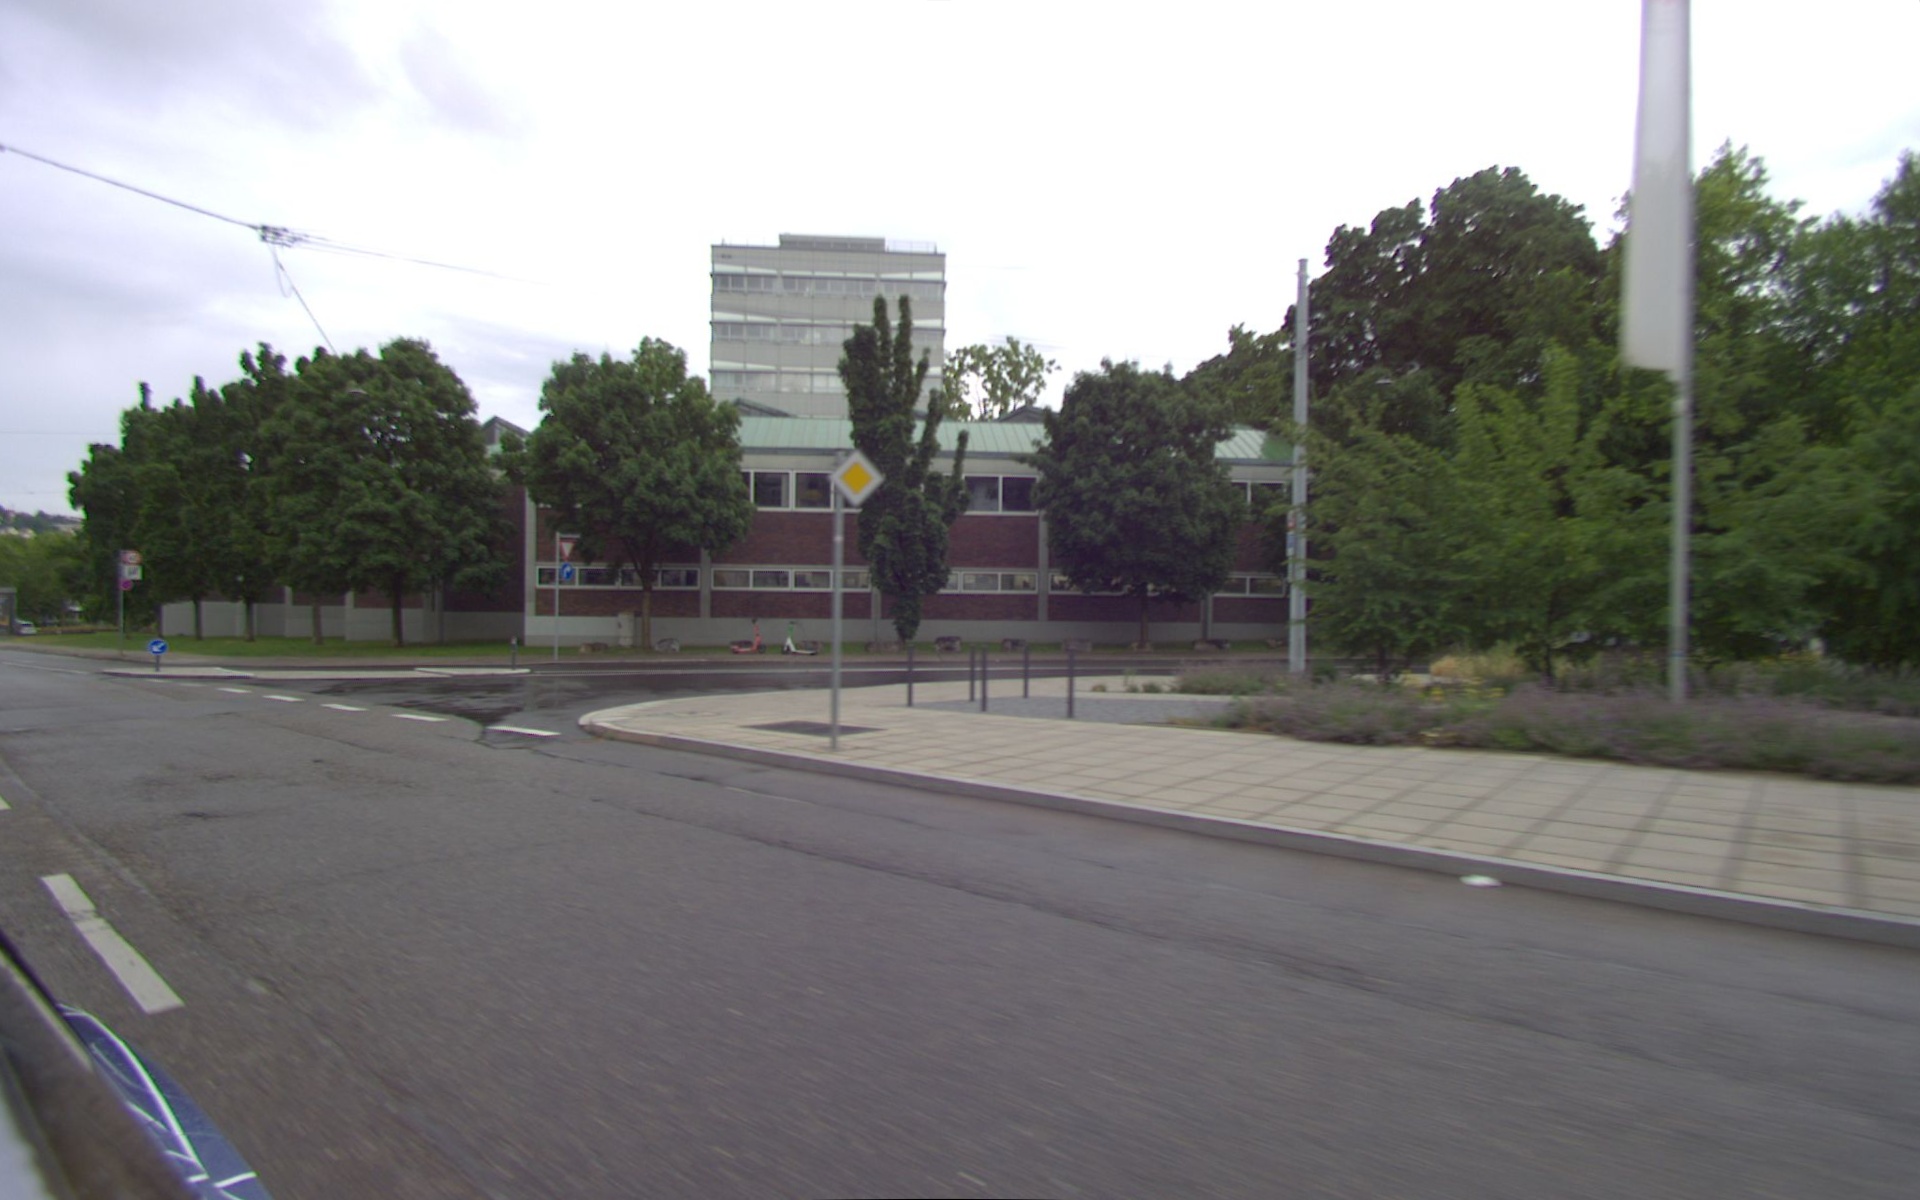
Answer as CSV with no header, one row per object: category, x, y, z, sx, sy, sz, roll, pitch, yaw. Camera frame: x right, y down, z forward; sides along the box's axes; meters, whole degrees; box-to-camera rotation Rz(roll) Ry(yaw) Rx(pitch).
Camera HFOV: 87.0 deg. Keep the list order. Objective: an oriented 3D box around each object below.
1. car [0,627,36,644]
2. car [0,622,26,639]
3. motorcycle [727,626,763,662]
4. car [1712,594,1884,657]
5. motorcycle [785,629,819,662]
car,-99.648,3.724,105.920,4.473,1.621,1.864,-1,0,8
car,-111.858,3.570,117.541,4.649,1.768,2.019,-1,0,-7
motorcycle,-7.504,1.534,35.292,1.207,1.194,0.414,-1,0,-11
car,28.886,0.839,34.990,4.217,2.058,2.078,-1,0,-2
motorcycle,-5.529,1.596,35.472,1.151,1.133,0.414,0,0,-11
